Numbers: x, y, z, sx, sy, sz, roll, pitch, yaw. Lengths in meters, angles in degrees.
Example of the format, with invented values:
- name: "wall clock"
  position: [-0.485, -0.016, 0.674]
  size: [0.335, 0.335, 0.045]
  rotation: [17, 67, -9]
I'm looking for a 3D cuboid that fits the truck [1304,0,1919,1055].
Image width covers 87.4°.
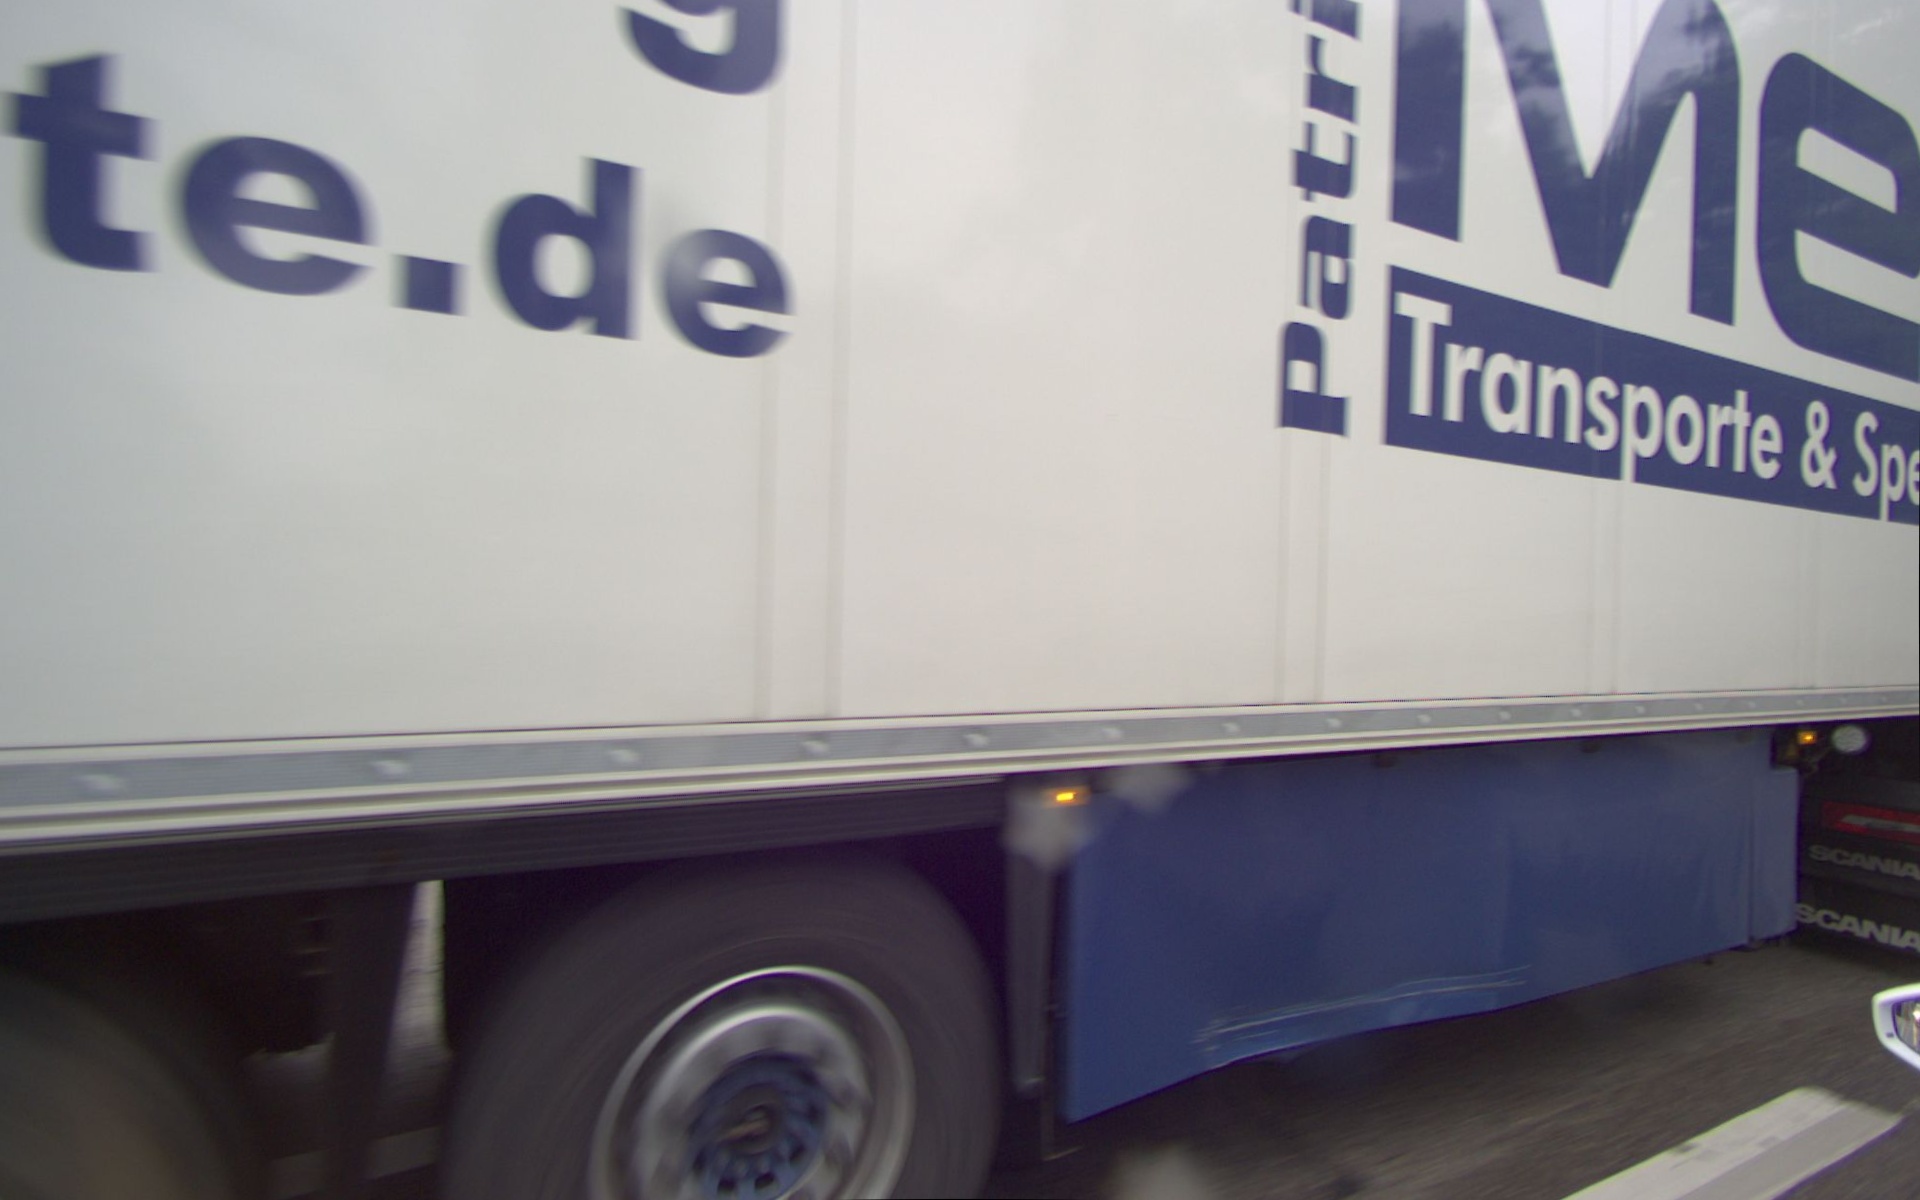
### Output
- name: "truck"
  position: [5.616, -0.485, 6.375]
  size: [6.705, 4.253, 2.748]
  rotation: [1, 0, -31]

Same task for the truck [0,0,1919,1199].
- name: "truck"
  position: [-0.436, -0.621, 2.709]
  size: [12.879, 4.253, 2.748]
  rotation: [1, 0, -31]
